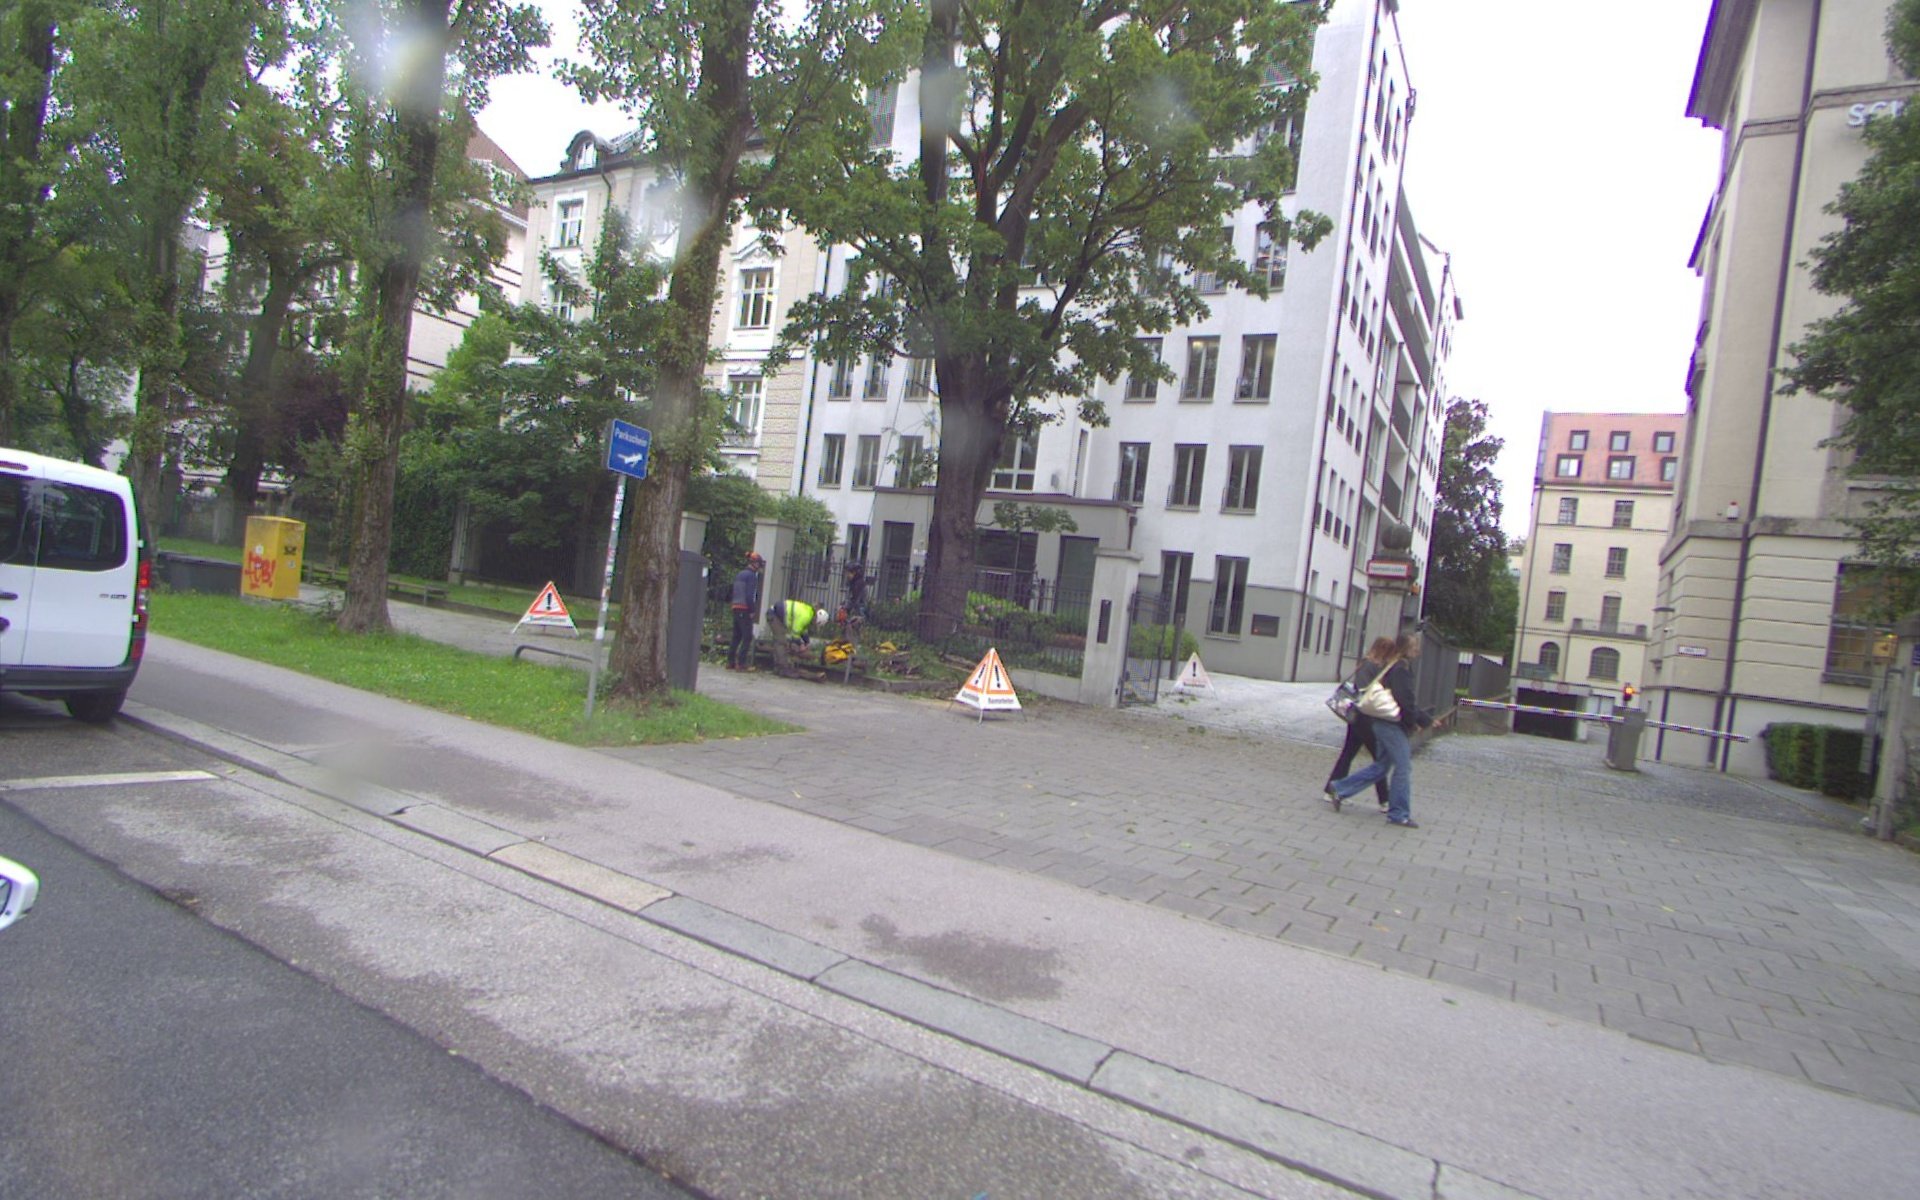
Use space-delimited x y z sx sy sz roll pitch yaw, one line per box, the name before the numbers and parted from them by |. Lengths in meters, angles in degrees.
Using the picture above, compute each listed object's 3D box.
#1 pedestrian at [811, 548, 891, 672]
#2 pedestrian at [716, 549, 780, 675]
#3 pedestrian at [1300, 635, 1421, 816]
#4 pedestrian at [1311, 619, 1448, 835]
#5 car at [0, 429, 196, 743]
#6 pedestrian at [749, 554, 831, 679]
pedestrian | -1.744 0.165 16.219 0.814 1.823 0.904 9 2 10
pedestrian | -3.329 0.187 15.821 0.626 1.886 0.488 7 1 14
pedestrian | 3.906 1.193 9.818 0.853 1.598 0.568 7 1 31
pedestrian | 3.775 1.095 9.030 0.853 1.739 0.854 7 2 30
car | -7.573 -0.293 7.156 4.098 1.904 1.854 7 0 30
pedestrian | -2.621 0.255 15.562 0.805 1.804 0.802 7 1 14
